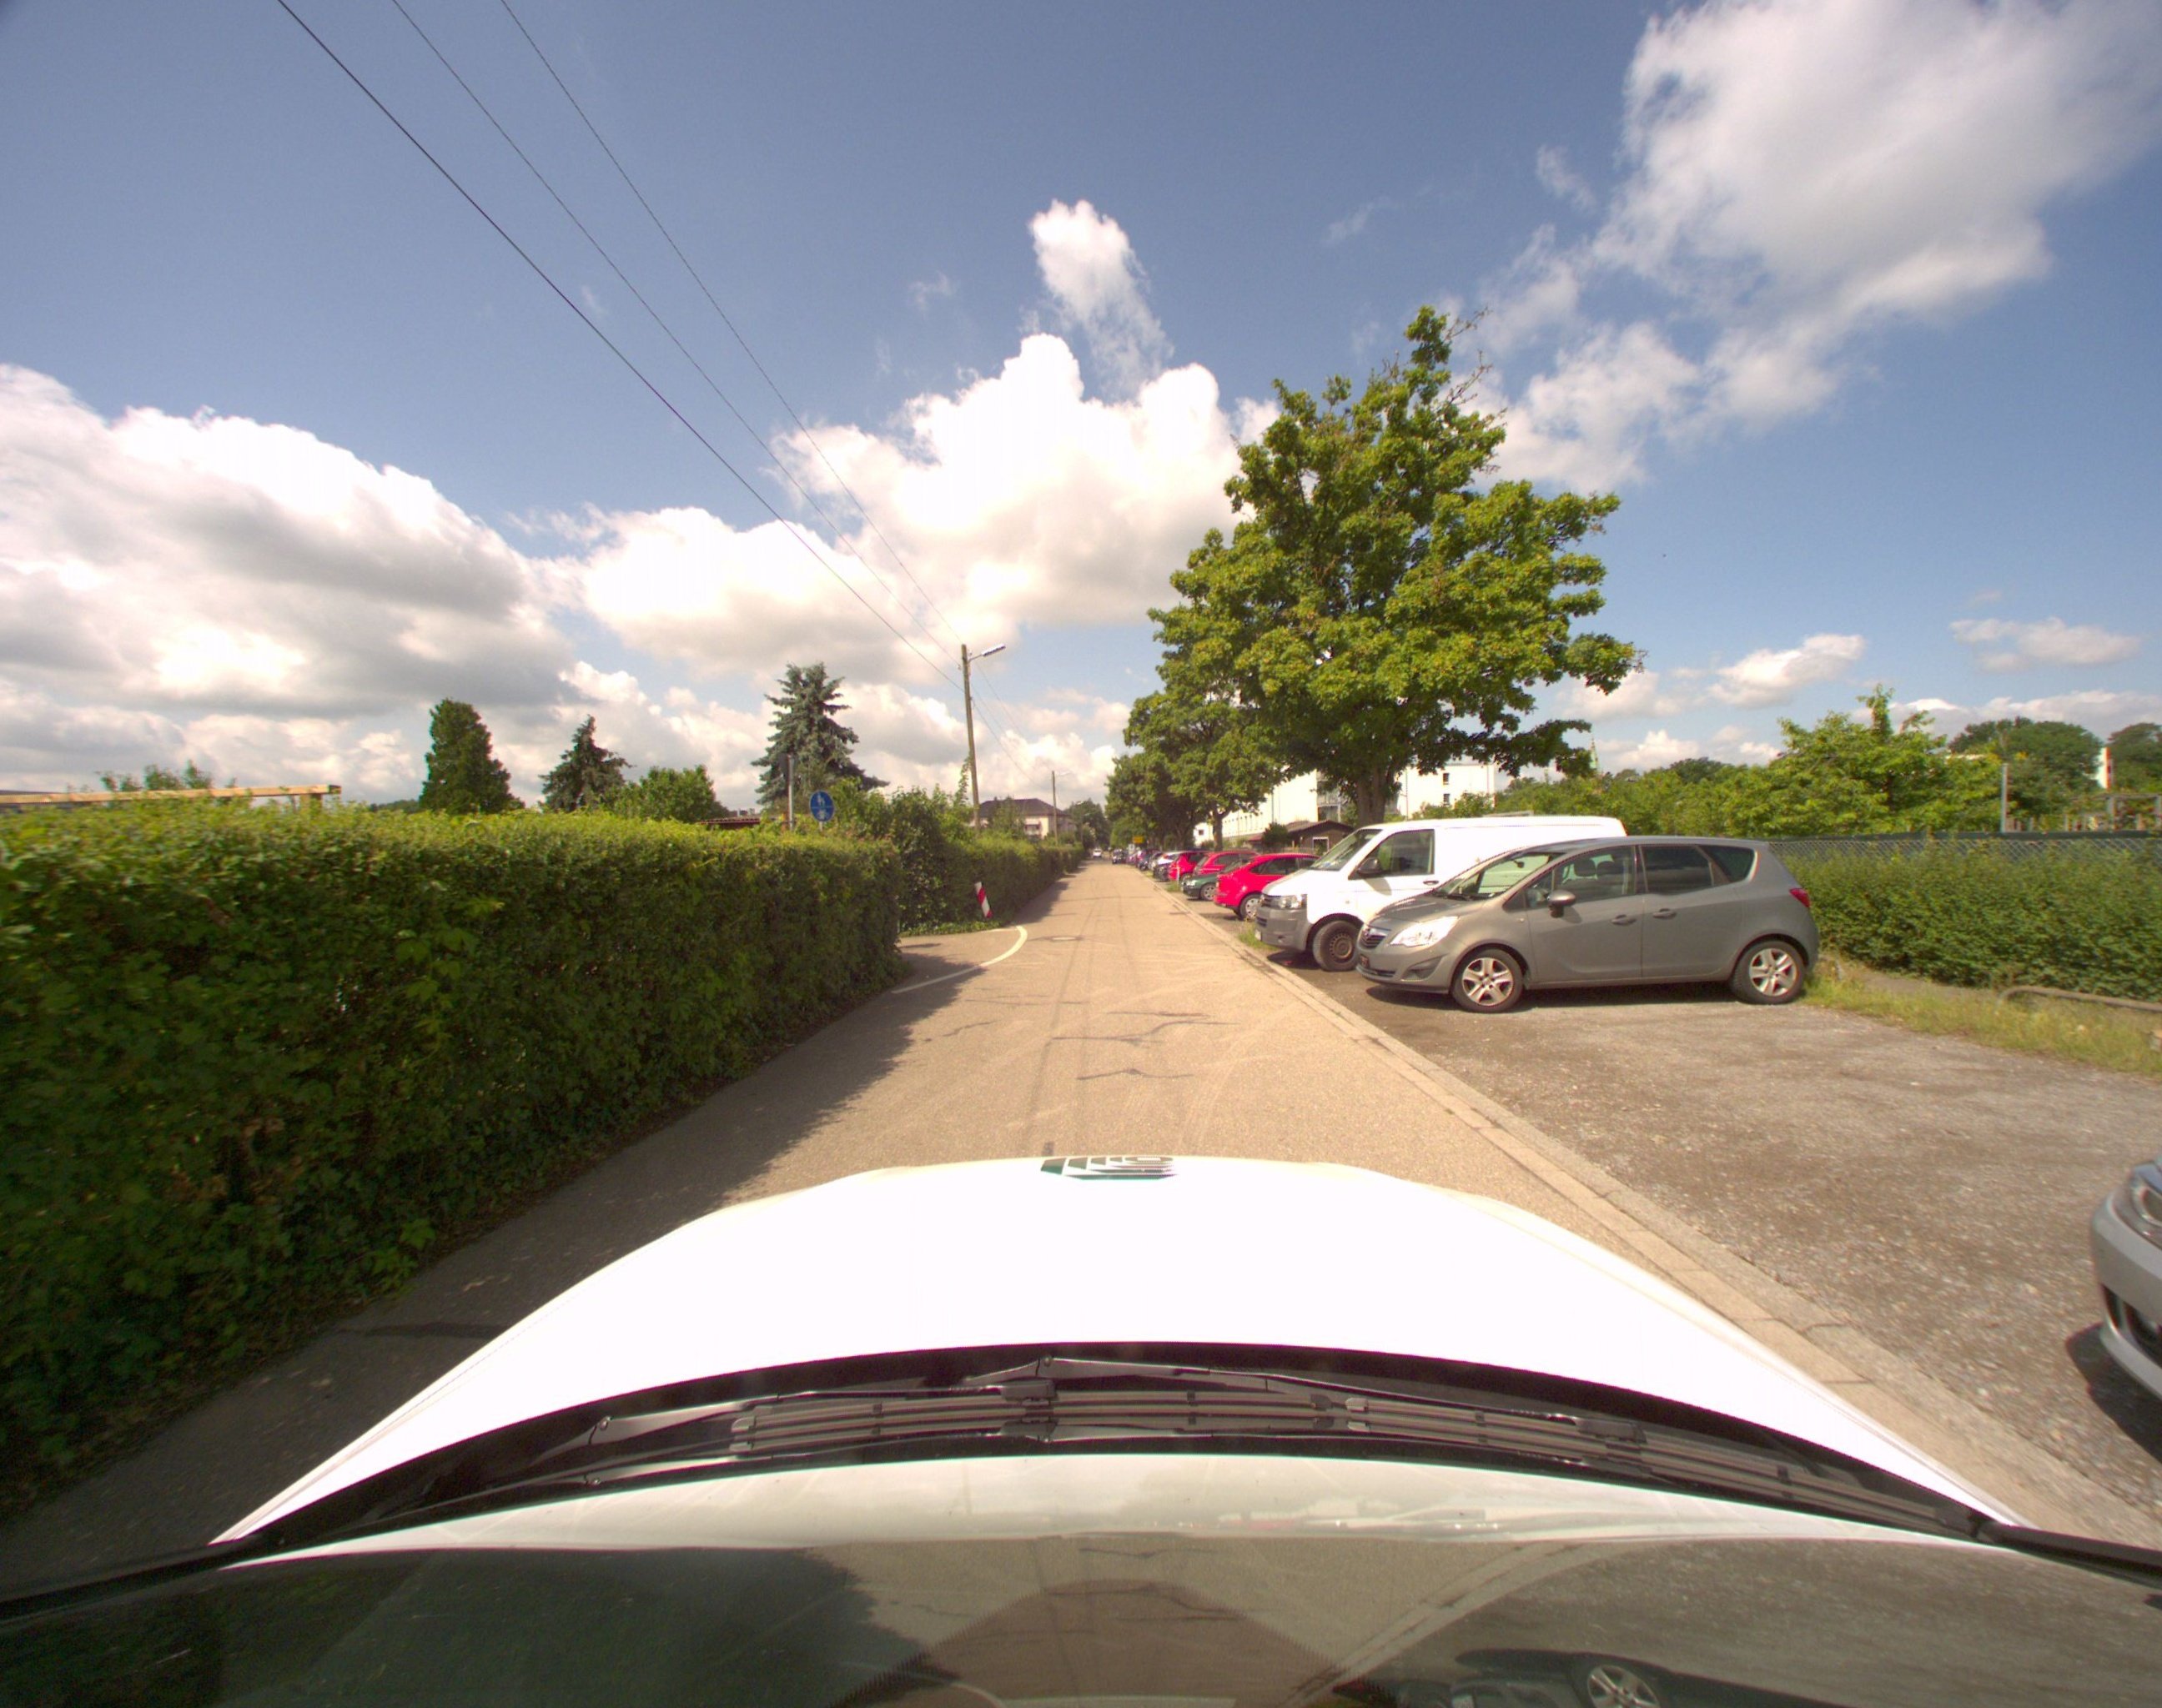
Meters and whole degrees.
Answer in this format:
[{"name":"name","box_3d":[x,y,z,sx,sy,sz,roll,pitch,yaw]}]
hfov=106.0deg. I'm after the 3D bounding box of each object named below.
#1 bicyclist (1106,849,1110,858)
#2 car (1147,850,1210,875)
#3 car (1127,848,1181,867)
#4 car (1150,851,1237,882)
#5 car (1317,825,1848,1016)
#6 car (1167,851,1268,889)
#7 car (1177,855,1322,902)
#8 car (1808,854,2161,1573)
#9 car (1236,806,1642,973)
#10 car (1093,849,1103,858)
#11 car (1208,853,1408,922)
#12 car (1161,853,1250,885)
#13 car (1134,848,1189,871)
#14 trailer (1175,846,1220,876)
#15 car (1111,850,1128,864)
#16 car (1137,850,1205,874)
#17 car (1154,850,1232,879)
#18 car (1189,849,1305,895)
[{"name":"bicyclist","box_3d":[5.325,-0.120,161.069,0.656,1.852,1.044,-3,0,4]},{"name":"car","box_3d":[6.065,0.506,50.939,3.713,1.540,1.848,0,0,-2]},{"name":"car","box_3d":[6.291,0.309,70.683,4.533,1.578,1.808,0,0,0]},{"name":"car","box_3d":[5.499,0.609,40.256,4.053,1.455,1.869,0,0,-1]},{"name":"car","box_3d":[4.849,0.606,8.427,4.227,1.592,2.001,-2,0,1]},{"name":"car","box_3d":[5.557,0.649,33.569,3.968,1.519,1.857,0,0,5]},{"name":"car","box_3d":[5.318,0.751,26.044,4.228,1.428,1.907,0,0,-3]},{"name":"car","box_3d":[4.510,0.717,1.552,4.566,1.466,1.999,-1,0,-2]},{"name":"car","box_3d":[4.656,0.433,11.177,4.620,1.886,2.111,-2,0,-1]},{"name":"car","box_3d":[3.436,-0.082,164.186,1.894,1.814,4.005,0,0,4]},{"name":"car","box_3d":[5.113,0.727,18.821,4.166,1.504,1.879,0,0,2]},{"name":"car","box_3d":[5.609,0.667,37.084,3.892,1.423,1.960,0,0,4]},{"name":"car","box_3d":[6.330,0.438,64.172,4.139,1.637,1.879,-2,0,1]},{"name":"trailer","box_3d":[6.851,0.418,48.035,2.443,1.720,1.517,0,1,-2]},{"name":"car","box_3d":[4.554,0.352,95.523,1.655,1.506,4.007,0,0,6]},{"name":"car","box_3d":[5.891,0.522,53.527,4.287,1.594,2.000,0,0,1]},{"name":"car","box_3d":[5.965,0.544,43.855,4.046,1.511,1.960,0,0,4]},{"name":"car","box_3d":[5.786,0.619,28.761,3.751,1.574,1.870,0,0,1]}]
